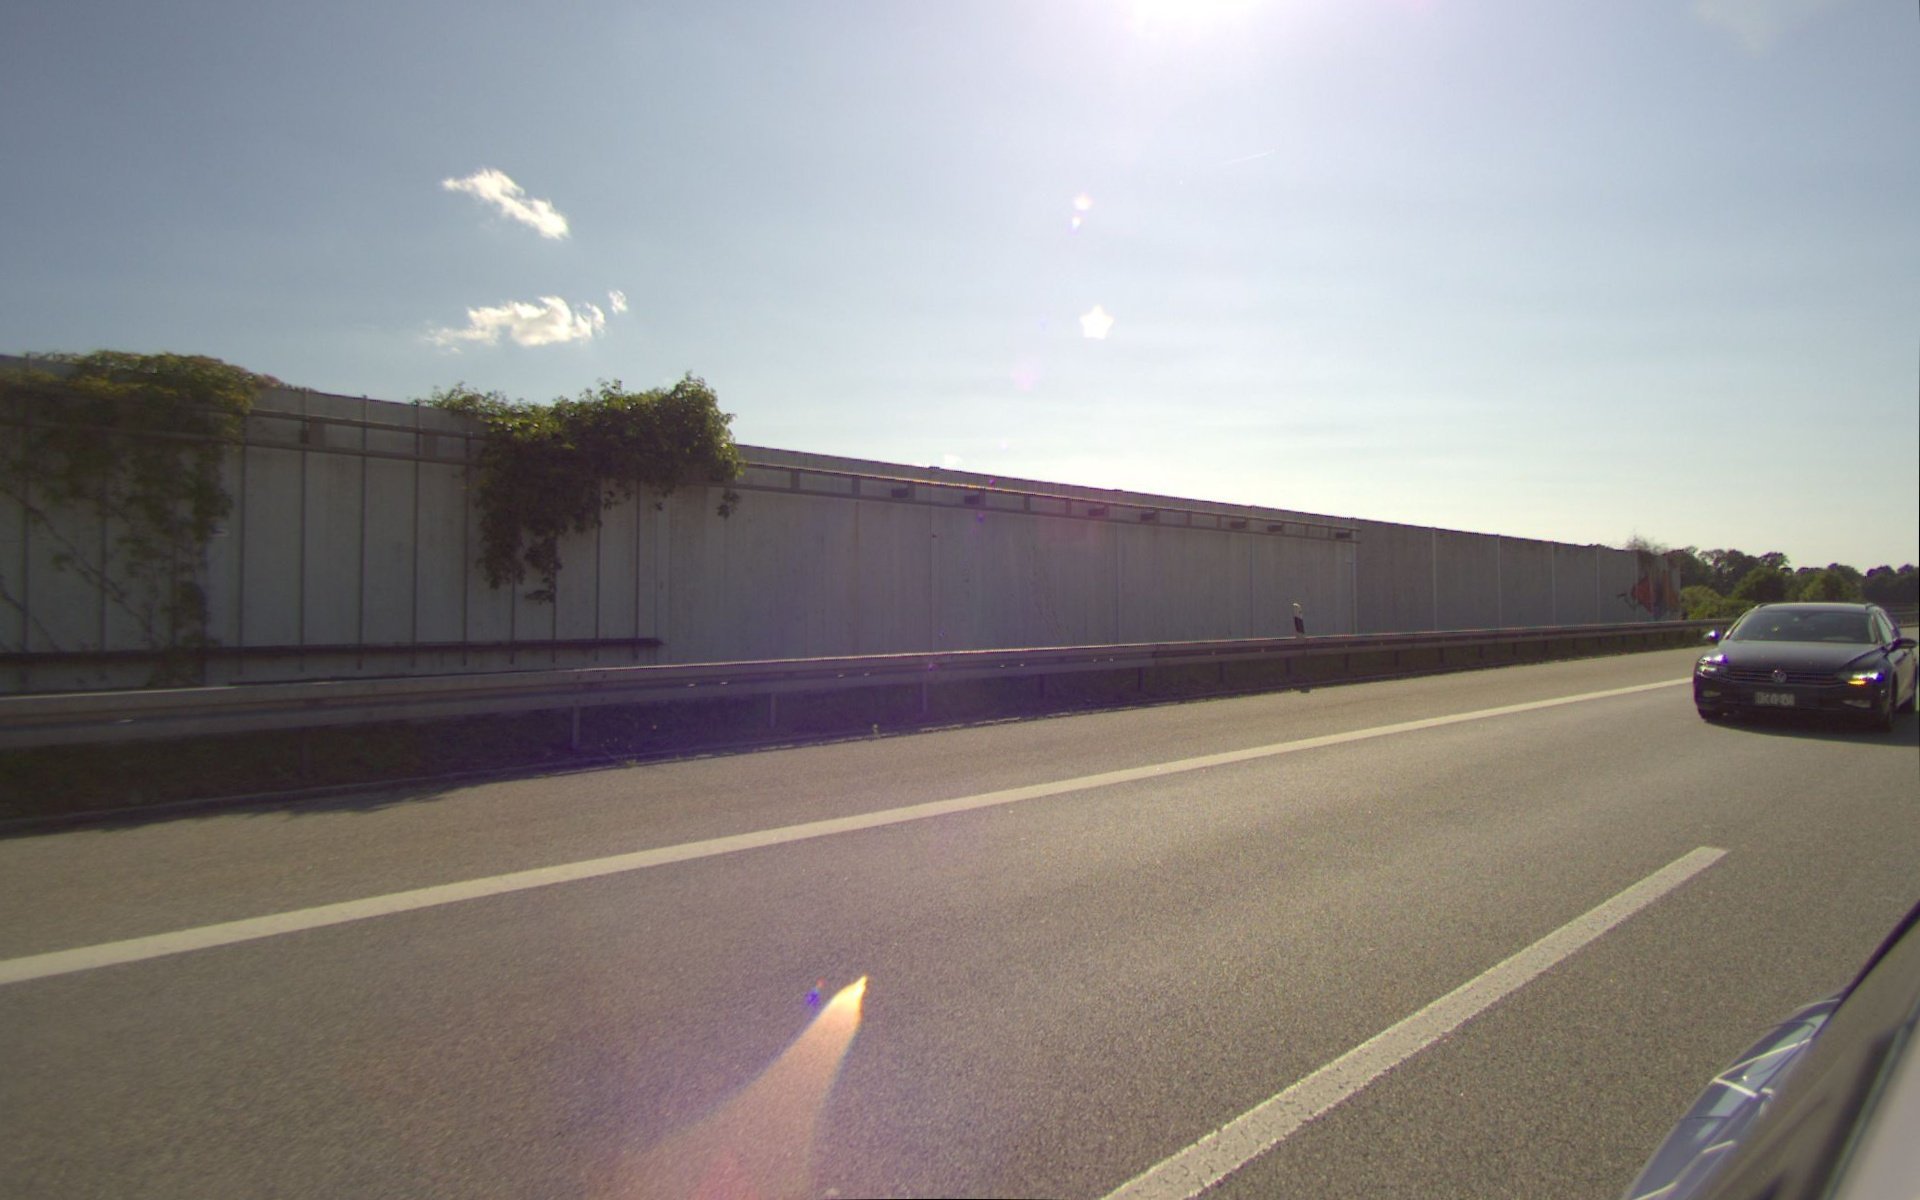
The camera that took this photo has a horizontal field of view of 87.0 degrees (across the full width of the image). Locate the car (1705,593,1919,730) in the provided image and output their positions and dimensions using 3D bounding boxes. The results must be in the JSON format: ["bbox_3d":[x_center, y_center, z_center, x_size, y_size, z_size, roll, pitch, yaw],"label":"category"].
[{"bbox_3d":[11.051,0.640,12.894,4.339,1.417,1.721,-1,1,-43],"label":"car"}]
